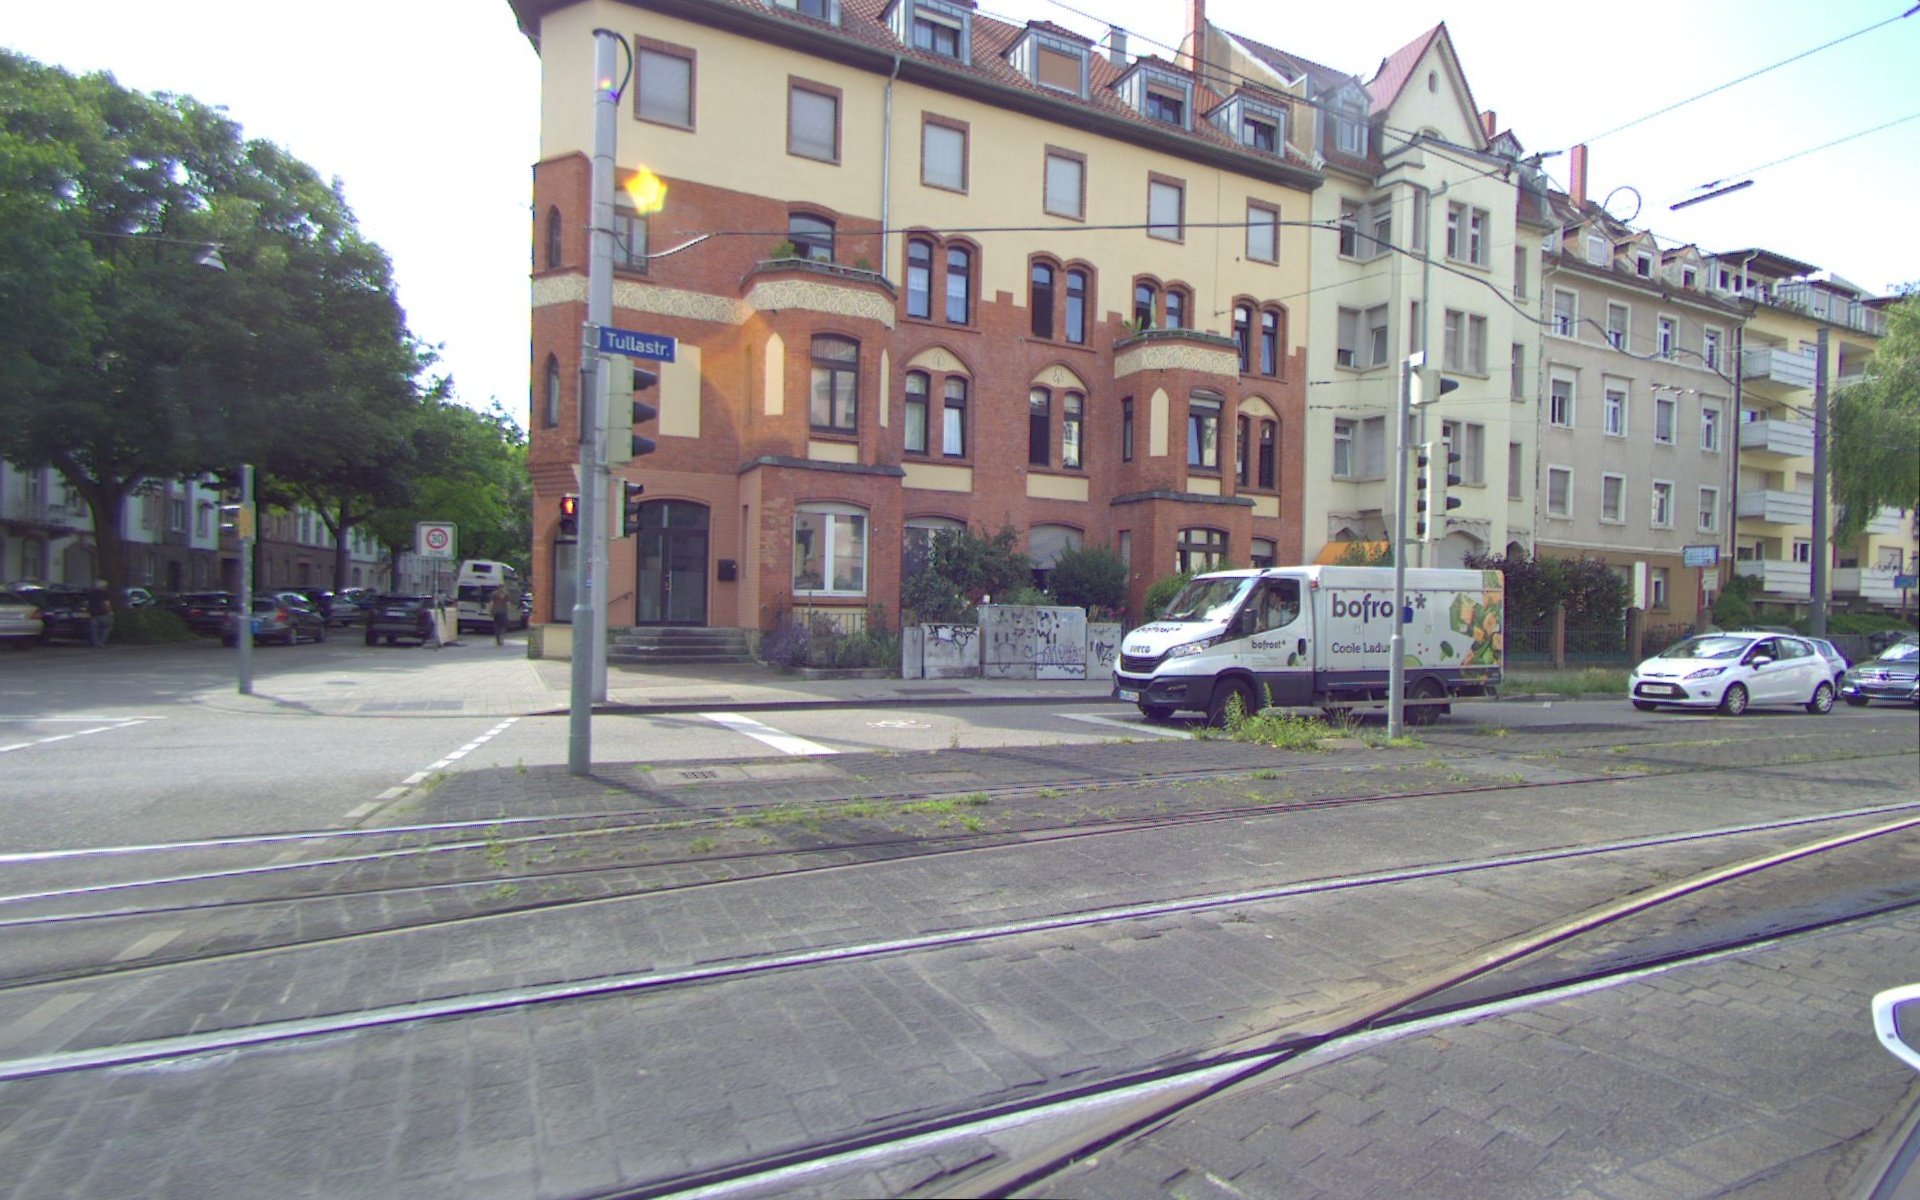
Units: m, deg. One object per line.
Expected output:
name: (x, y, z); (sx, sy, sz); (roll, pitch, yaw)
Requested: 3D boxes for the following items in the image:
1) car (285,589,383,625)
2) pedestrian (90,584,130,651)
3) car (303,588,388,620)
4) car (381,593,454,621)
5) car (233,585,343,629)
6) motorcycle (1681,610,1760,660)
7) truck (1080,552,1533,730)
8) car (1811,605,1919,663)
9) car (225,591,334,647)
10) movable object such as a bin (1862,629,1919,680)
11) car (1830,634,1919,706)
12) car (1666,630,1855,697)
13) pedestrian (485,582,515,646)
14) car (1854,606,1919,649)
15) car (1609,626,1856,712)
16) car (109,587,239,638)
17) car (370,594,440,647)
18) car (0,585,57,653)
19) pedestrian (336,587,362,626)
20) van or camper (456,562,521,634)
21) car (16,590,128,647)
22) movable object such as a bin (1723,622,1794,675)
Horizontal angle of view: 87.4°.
car: (-30.193, 0.339, 48.470); (3.742, 1.683, 1.976); (1, 0, -41)
pedestrian: (-21.923, 0.460, 25.922); (0.739, 1.702, 0.790); (2, -1, -40)
car: (-34.071, 0.250, 55.742); (3.742, 1.683, 1.976); (1, 0, -41)
car: (-34.432, 0.440, 63.834); (3.742, 1.683, 1.976); (1, 0, -41)
car: (-29.264, 0.321, 43.790); (3.742, 1.848, 1.976); (1, 0, -41)
motorcycle: (20.123, 0.923, 26.568); (2.269, 1.259, 0.895); (1, 0, -32)
truck: (5.183, 0.590, 14.899); (6.514, 2.244, 2.181); (1, -1, -22)
car: (37.139, 1.342, 40.397); (1.909, 2.041, 3.979); (1, 2, -22)
car: (-20.300, 0.560, 30.134); (1.647, 1.566, 3.718); (0, -1, -17)
movable object such as a bin: (28.415, 1.643, 30.535); (1.502, 1.449, 0.947); (1, 2, -26)
car: (20.223, 1.426, 20.730); (4.450, 1.374, 1.750); (2, -2, -24)
car: (18.062, 1.397, 22.663); (3.940, 1.374, 1.750); (1, -1, -24)
pedestrian: (-13.539, 0.413, 29.542); (0.748, 1.856, 1.000); (1, 0, -27)
car: (39.299, 1.178, 40.809); (1.946, 1.624, 3.974); (1, 2, -25)
car: (14.102, 1.240, 18.353); (4.073, 1.433, 1.752); (2, -2, -22)
car: (-26.529, 0.400, 33.913); (3.926, 1.617, 1.998); (1, 0, 27)
car: (-17.478, 0.617, 31.738); (1.534, 1.566, 3.710); (1, 0, -23)
car: (-23.466, 0.435, 24.433); (3.674, 1.565, 1.641); (0, -1, 39)
pedestrian: (-28.561, 0.302, 46.946); (0.882, 1.815, 0.949); (1, -1, -41)
van or camper: (-20.748, -0.069, 44.380); (2.120, 3.032, 4.620); (1, 0, -20)
car: (-23.985, 0.496, 27.102); (3.514, 1.416, 1.618); (1, -2, 38)
movable object such as a bin: (22.357, 1.336, 28.129); (1.502, 1.385, 0.947); (1, 2, -26)
